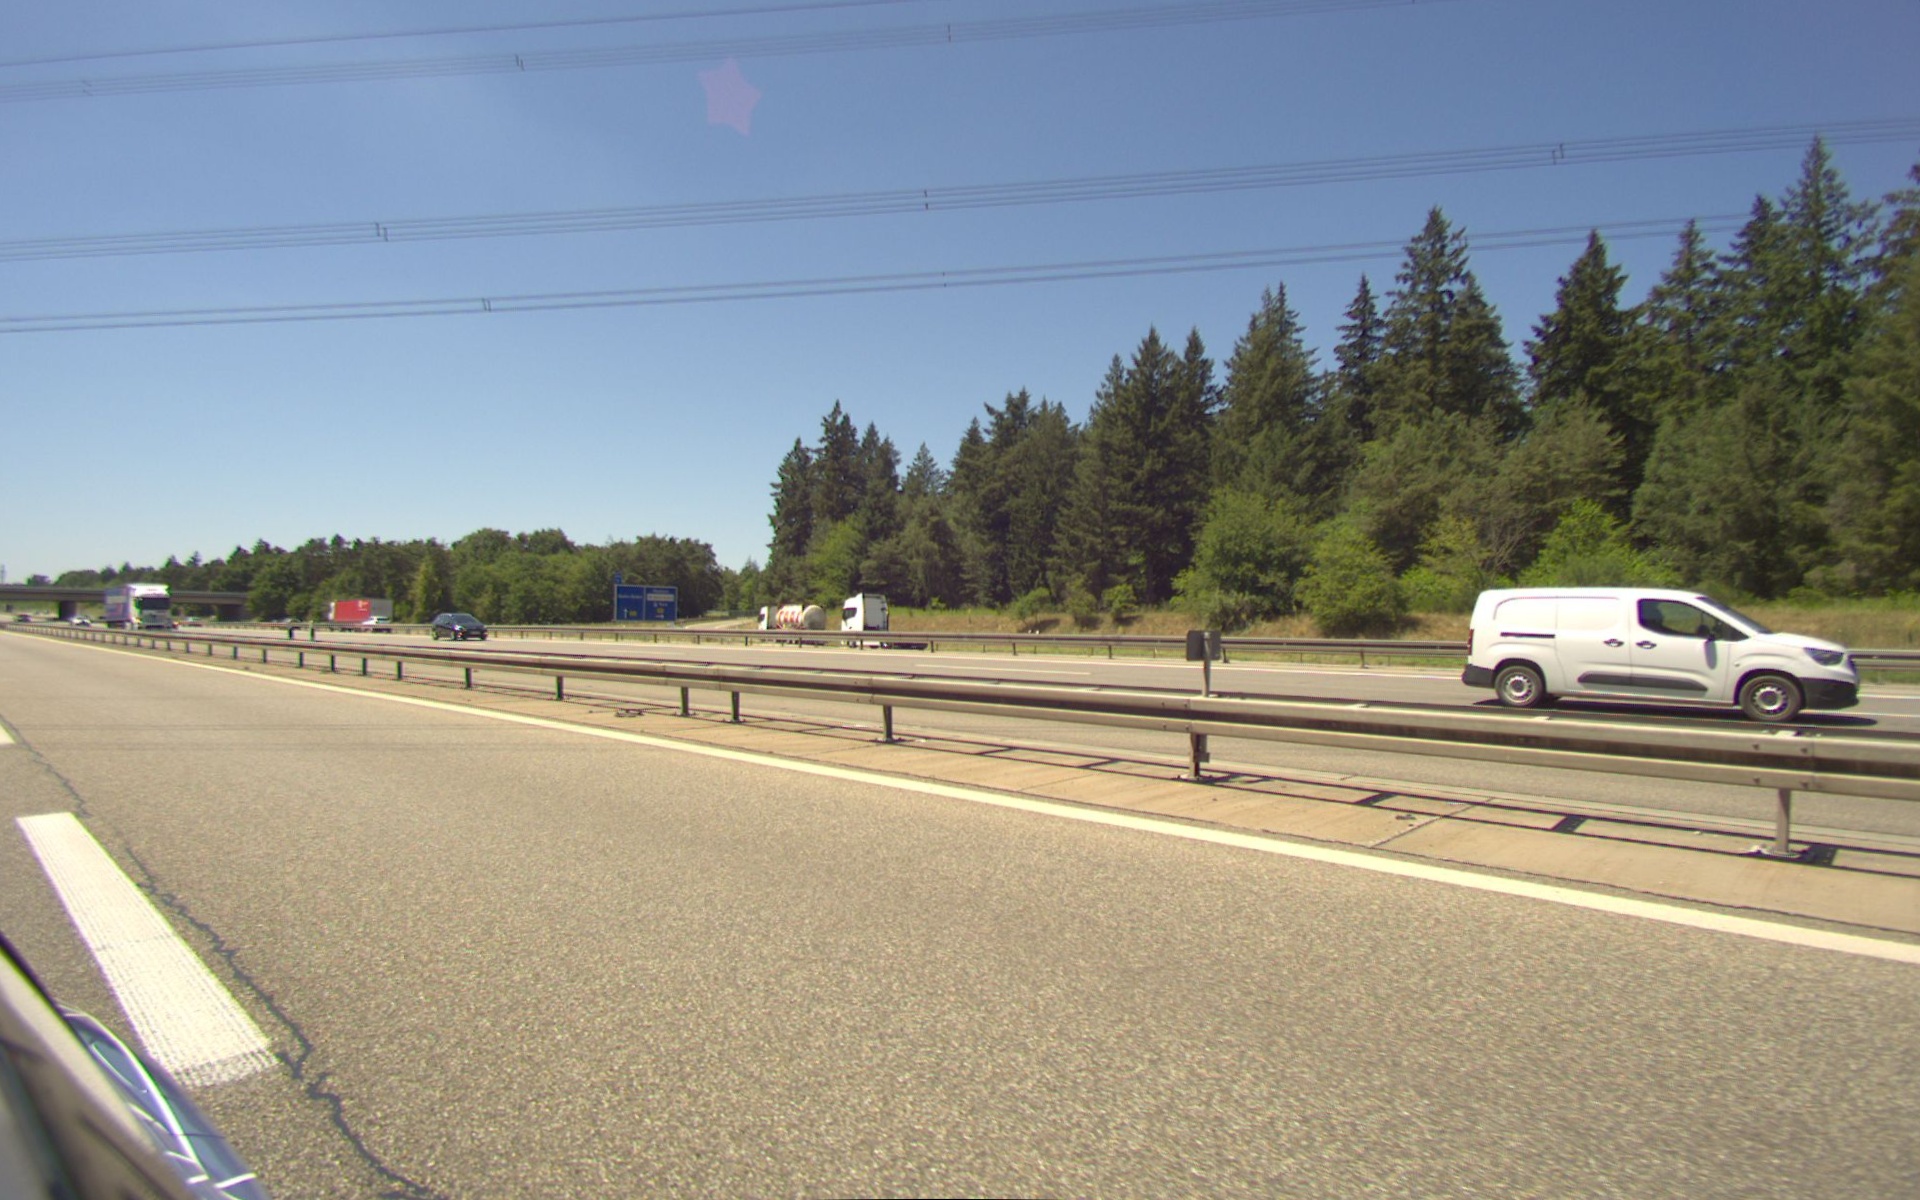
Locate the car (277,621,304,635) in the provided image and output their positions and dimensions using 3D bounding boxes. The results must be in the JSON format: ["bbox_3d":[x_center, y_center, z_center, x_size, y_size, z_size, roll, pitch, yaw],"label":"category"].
[{"bbox_3d":[-86.473,3.638,130.696,4.826,1.696,1.894,1,0,43],"label":"car"}]

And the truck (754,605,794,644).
[{"bbox_3d":[-18.959,2.522,103.223,2.729,3.826,4.011,1,-2,-32],"label":"truck"}]

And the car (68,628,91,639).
[{"bbox_3d":[-129.956,4.871,149.346,3.997,1.580,1.973,-1,-2,41],"label":"car"}]

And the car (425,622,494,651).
[{"bbox_3d":[-27.753,1.990,56.110,4.240,1.487,1.973,-1,-1,41],"label":"car"}]

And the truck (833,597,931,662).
[{"bbox_3d":[-5.734,2.040,73.308,7.535,4.378,2.827,1,-1,45],"label":"truck"}]

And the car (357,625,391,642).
[{"bbox_3d":[-61.896,3.509,106.841,4.826,1.696,1.752,1,0,43],"label":"car"}]

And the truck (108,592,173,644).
[{"bbox_3d":[-68.347,1.529,84.286,11.047,4.089,2.673,-1,-2,43],"label":"truck"}]

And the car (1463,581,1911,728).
[{"bbox_3d":[10.183,0.703,14.536,5.020,1.767,1.752,-1,-2,43],"label":"car"}]

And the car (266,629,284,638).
[{"bbox_3d":[-136.391,6.618,201.492,3.998,1.663,1.973,-1,-2,41],"label":"car"}]

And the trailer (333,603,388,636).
[{"bbox_3d":[-73.713,2.476,124.233,13.746,3.826,2.512,-2,-2,45],"label":"trailer"}]

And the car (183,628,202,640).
[{"bbox_3d":[-118.861,5.297,156.694,1.750,1.696,4.830,1,0,-43],"label":"car"}]

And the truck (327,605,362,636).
[{"bbox_3d":[-78.484,2.664,129.019,2.512,3.826,5.671,1,-3,-45],"label":"truck"}]

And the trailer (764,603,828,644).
[{"bbox_3d":[-16.056,2.347,98.684,2.734,3.827,8.960,1,-2,-33],"label":"trailer"}]
